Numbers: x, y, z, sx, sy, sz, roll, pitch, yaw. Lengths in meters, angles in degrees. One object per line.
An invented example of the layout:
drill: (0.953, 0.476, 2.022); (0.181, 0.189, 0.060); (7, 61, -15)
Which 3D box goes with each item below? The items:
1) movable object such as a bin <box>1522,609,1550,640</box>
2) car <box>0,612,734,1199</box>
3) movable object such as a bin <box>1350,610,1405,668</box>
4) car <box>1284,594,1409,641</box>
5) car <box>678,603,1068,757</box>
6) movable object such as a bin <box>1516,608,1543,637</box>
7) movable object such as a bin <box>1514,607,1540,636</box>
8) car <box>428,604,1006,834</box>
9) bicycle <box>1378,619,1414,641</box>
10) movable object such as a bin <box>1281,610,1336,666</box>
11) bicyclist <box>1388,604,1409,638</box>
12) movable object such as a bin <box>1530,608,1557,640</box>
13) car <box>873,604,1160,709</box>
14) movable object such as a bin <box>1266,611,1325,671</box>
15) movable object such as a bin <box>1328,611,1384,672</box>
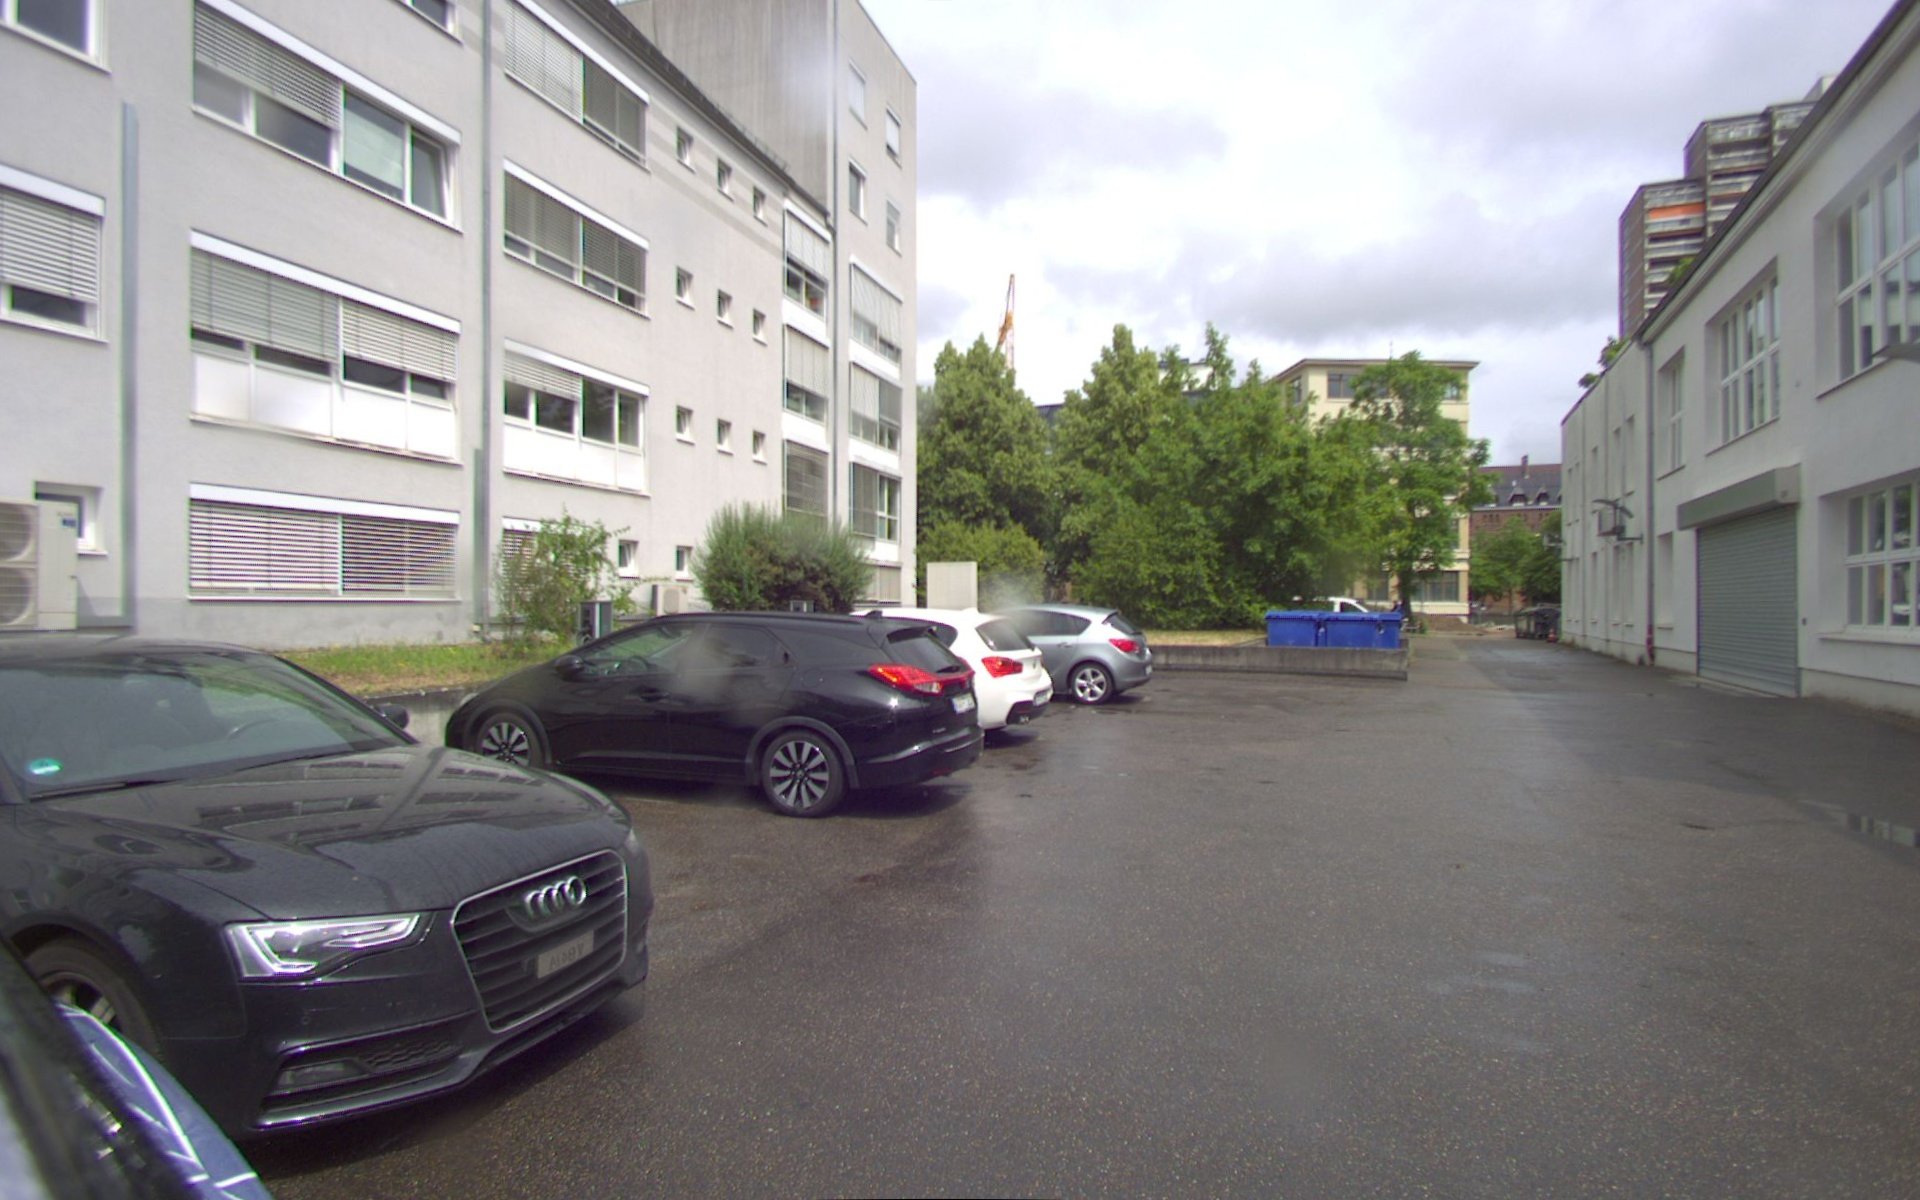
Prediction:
movable object such as a bin: (26.123, 1.084, 45.942); (1.041, 1.366, 1.196); (-1, 0, 27)
car: (-3.258, 0.773, 3.766); (4.493, 1.362, 1.752); (1, 0, 19)
movable object such as a bin: (10.183, 0.933, 24.654); (1.126, 1.338, 1.197); (-1, 0, 27)
car: (14.953, 0.655, 39.190); (4.316, 1.740, 1.705); (-1, 0, 29)
car: (-0.970, 0.789, 11.465); (4.094, 1.453, 1.685); (1, 0, 20)
movable object such as a bin: (27.298, 1.070, 48.557); (1.061, 1.366, 1.253); (-1, 0, 27)
movable object such as a bin: (27.886, 1.063, 49.784); (1.061, 1.366, 1.253); (-1, 0, 27)
car: (-1.915, 0.789, 8.182); (4.280, 1.453, 1.753); (1, 0, 18)
bicycle: (22.094, 1.508, 51.309); (1.683, 1.046, 0.544); (-1, 0, -17)
movable object such as a bin: (8.701, 0.938, 25.248); (1.126, 1.338, 1.197); (-1, 0, 27)
bicyclist: (22.257, 1.080, 51.385); (0.745, 1.691, 0.594); (-1, 0, -17)
movable object such as a bin: (25.501, 1.031, 44.245); (0.974, 1.366, 0.911); (-1, 0, 28)
car: (0.928, 0.821, 16.170); (4.280, 1.453, 1.753); (1, 0, 18)
movable object such as a bin: (7.894, 0.948, 23.795); (1.126, 1.338, 1.197); (-1, 0, 27)
movable object such as a bin: (9.095, 0.937, 23.219); (1.090, 1.335, 1.197); (-1, 0, 27)
